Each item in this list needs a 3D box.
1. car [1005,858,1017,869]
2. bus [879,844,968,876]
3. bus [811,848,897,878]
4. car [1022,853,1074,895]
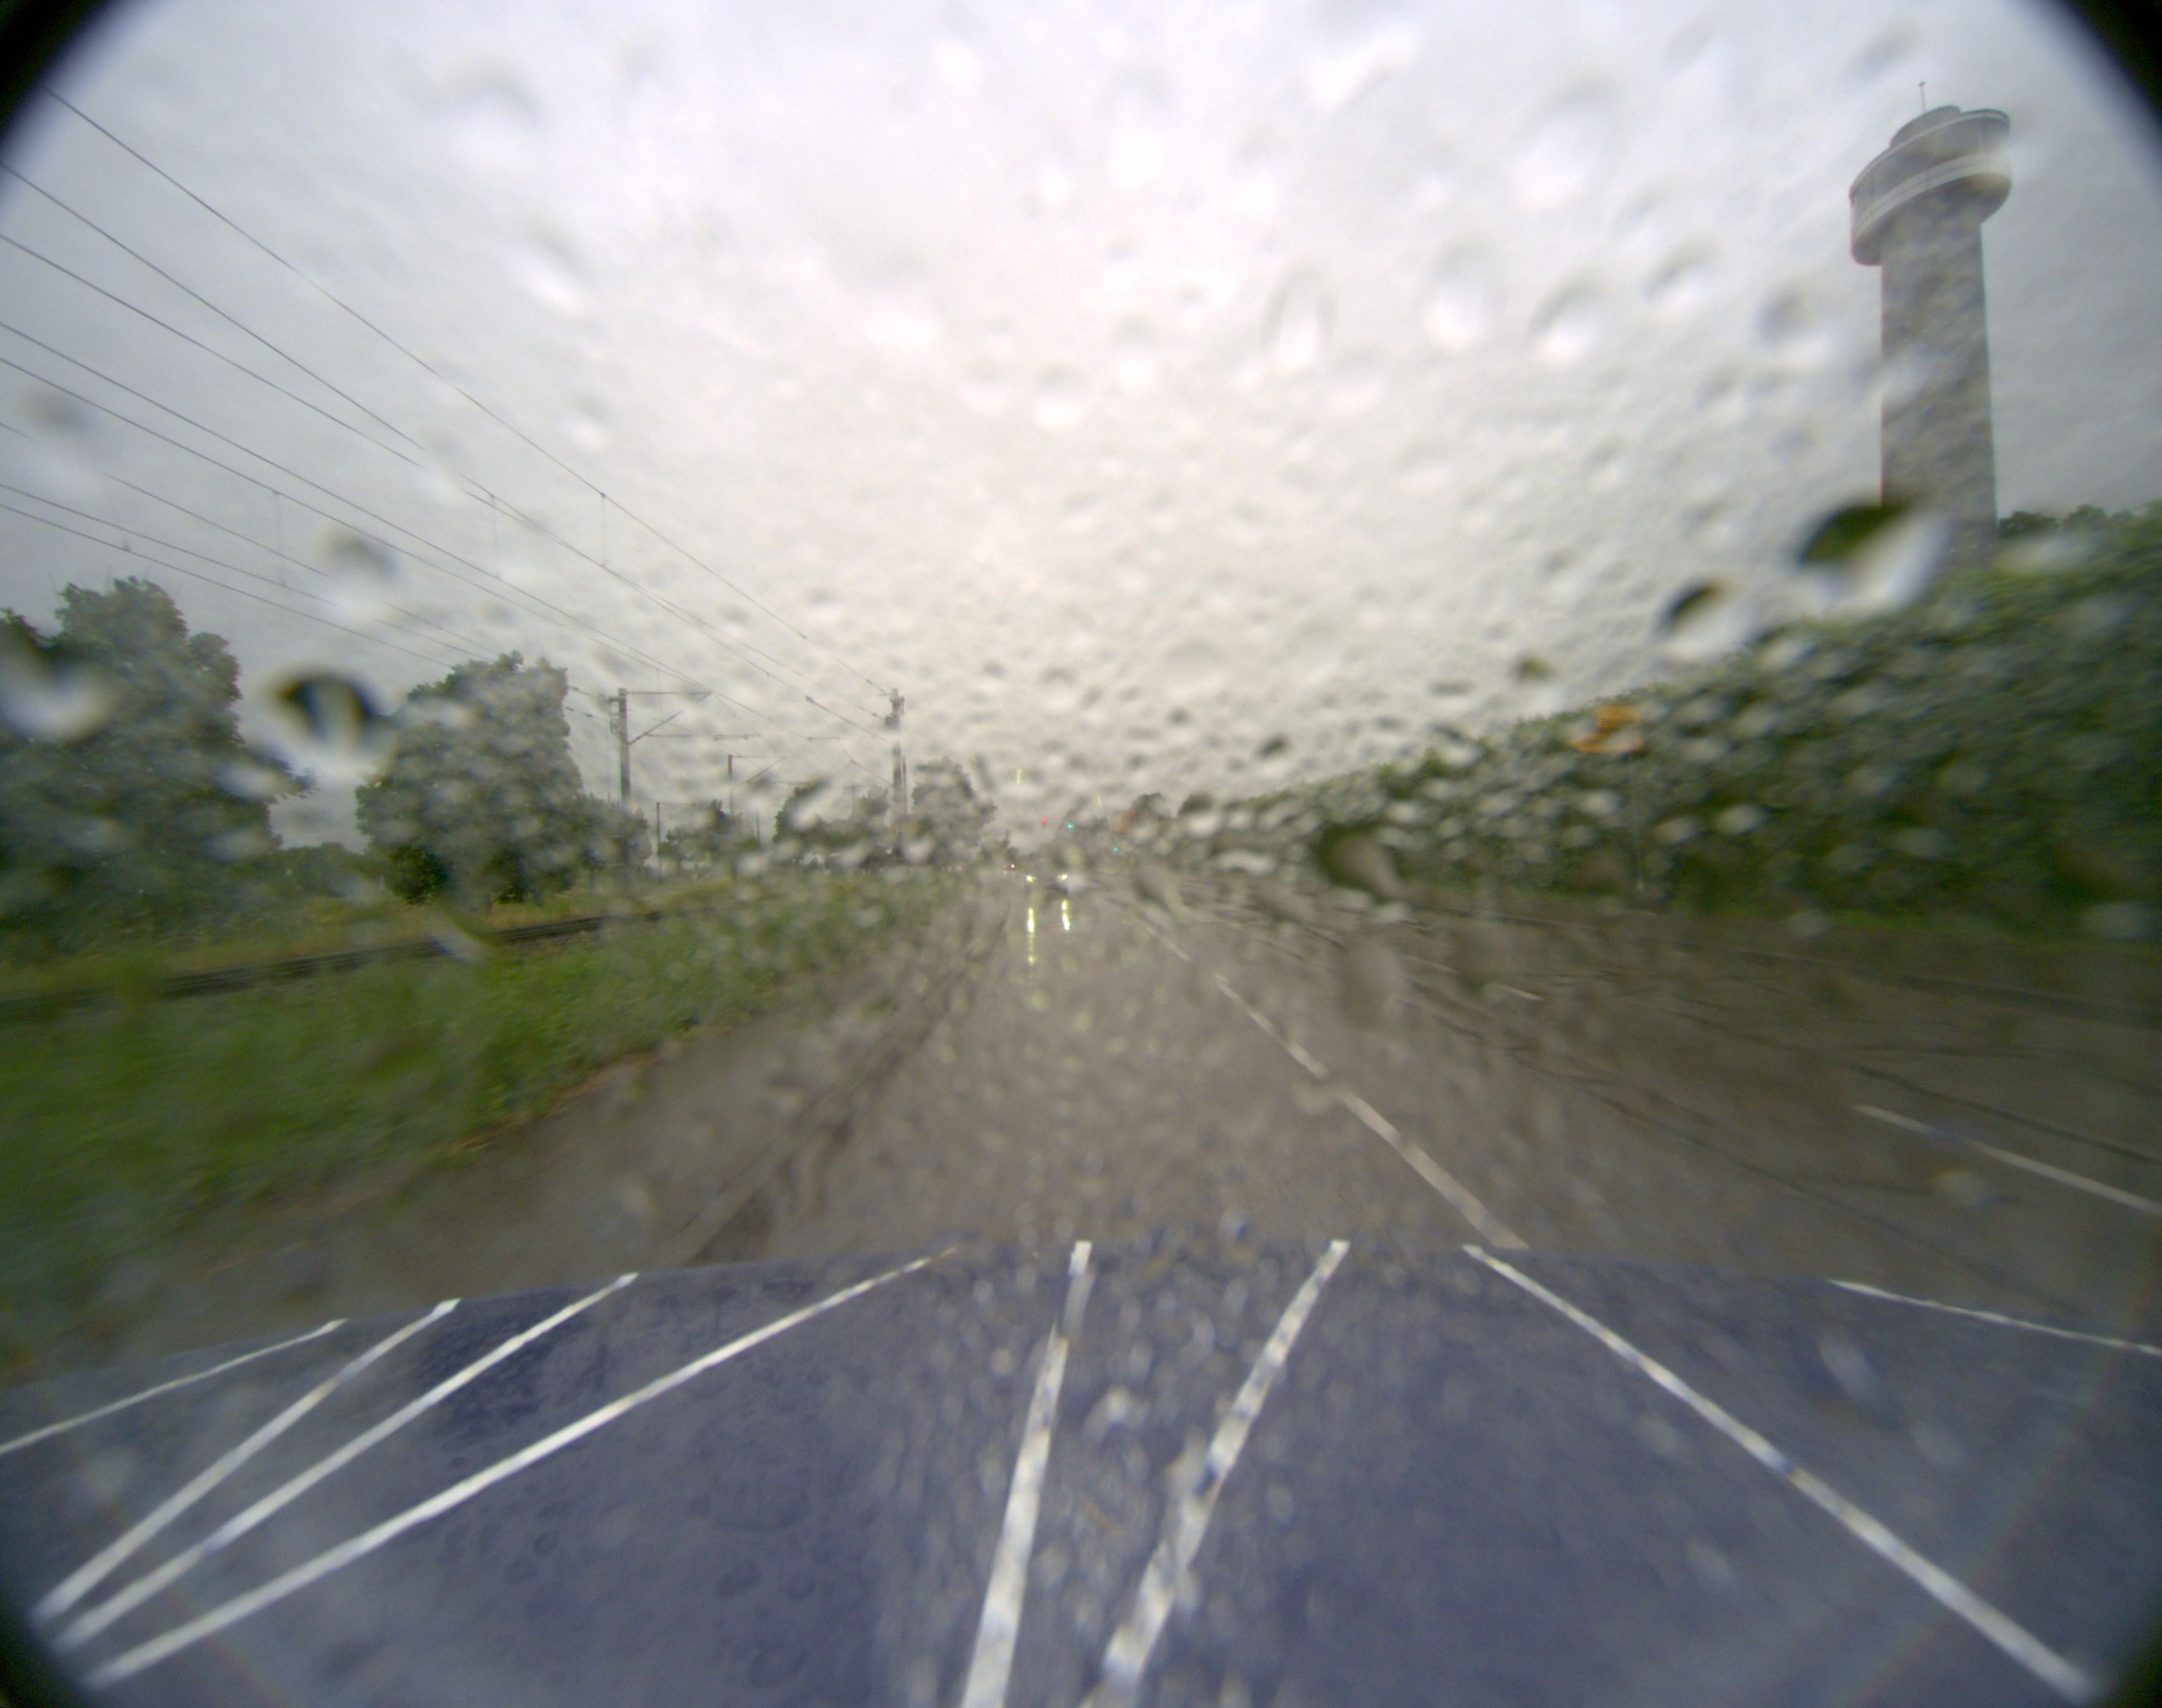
[{"bbox_3d":[-12.920,1.709,140.311,1.921,2.002,3.998,-3,0,-4],"label":"car"},{"bbox_3d":[-16.847,0.672,81.003,9.968,3.059,2.683,-2,1,31],"label":"bus"},{"bbox_3d":[-25.712,1.034,85.820,9.970,3.059,2.683,-2,1,26],"label":"bus"},{"bbox_3d":[-1.541,0.824,33.580,1.999,1.622,3.998,-3,0,-6],"label":"car"}]
